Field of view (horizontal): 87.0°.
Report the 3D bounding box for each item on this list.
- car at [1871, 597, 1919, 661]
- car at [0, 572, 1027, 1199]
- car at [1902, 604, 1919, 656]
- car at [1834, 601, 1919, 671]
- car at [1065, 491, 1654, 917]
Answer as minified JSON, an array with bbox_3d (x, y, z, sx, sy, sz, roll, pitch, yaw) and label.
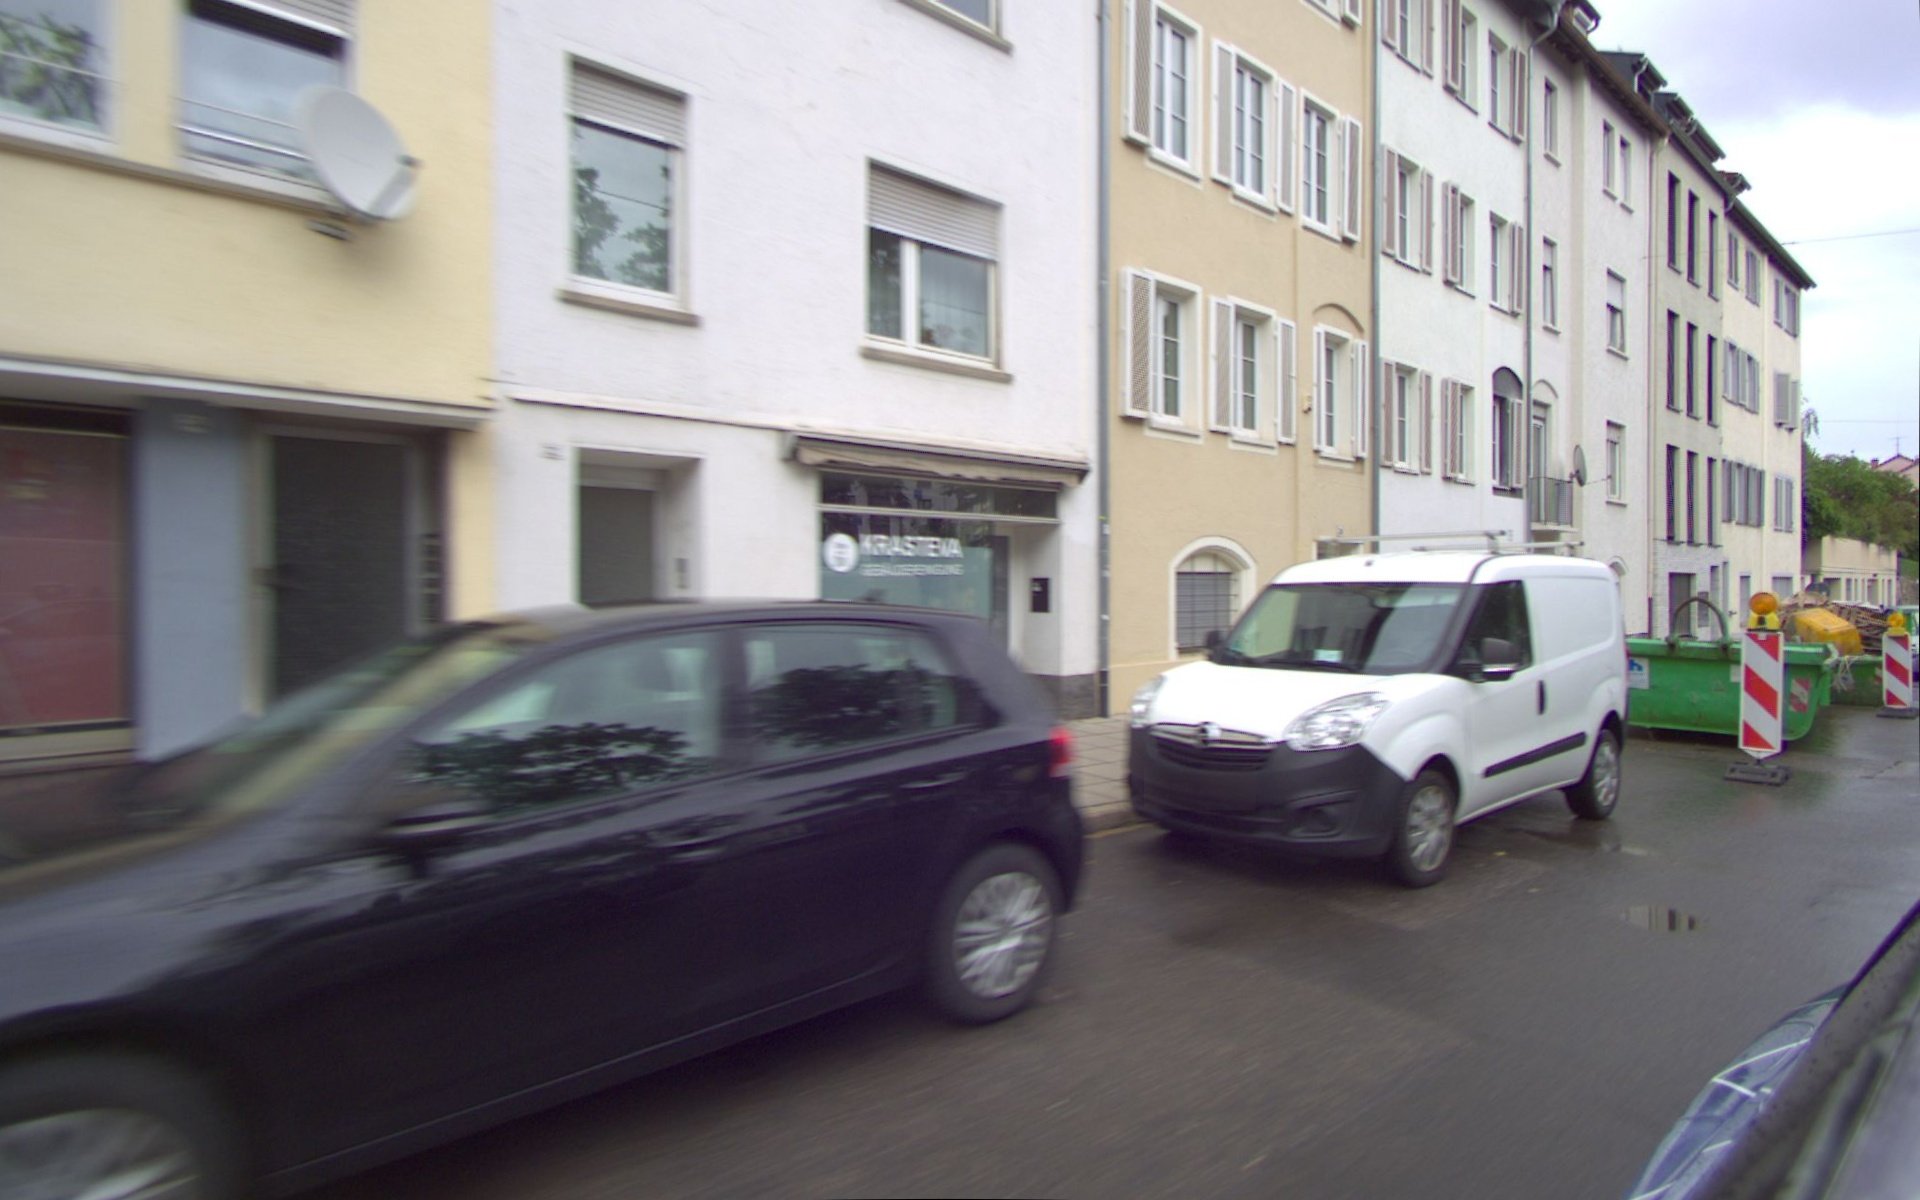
[{"bbox_3d":[24.612,0.707,25.699,3.930,1.544,1.719,1,-2,-41],"label":"car"},{"bbox_3d":[-1.568,0.691,3.023,3.440,1.489,1.580,0,0,-41],"label":"car"},{"bbox_3d":[28.612,0.852,29.330,3.694,1.472,1.561,1,-2,-42],"label":"car"},{"bbox_3d":[20.620,0.748,22.190,3.774,1.429,1.629,1,-2,-41],"label":"car"},{"bbox_3d":[2.808,0.476,6.665,4.162,1.948,1.821,0,0,-39],"label":"car"}]
